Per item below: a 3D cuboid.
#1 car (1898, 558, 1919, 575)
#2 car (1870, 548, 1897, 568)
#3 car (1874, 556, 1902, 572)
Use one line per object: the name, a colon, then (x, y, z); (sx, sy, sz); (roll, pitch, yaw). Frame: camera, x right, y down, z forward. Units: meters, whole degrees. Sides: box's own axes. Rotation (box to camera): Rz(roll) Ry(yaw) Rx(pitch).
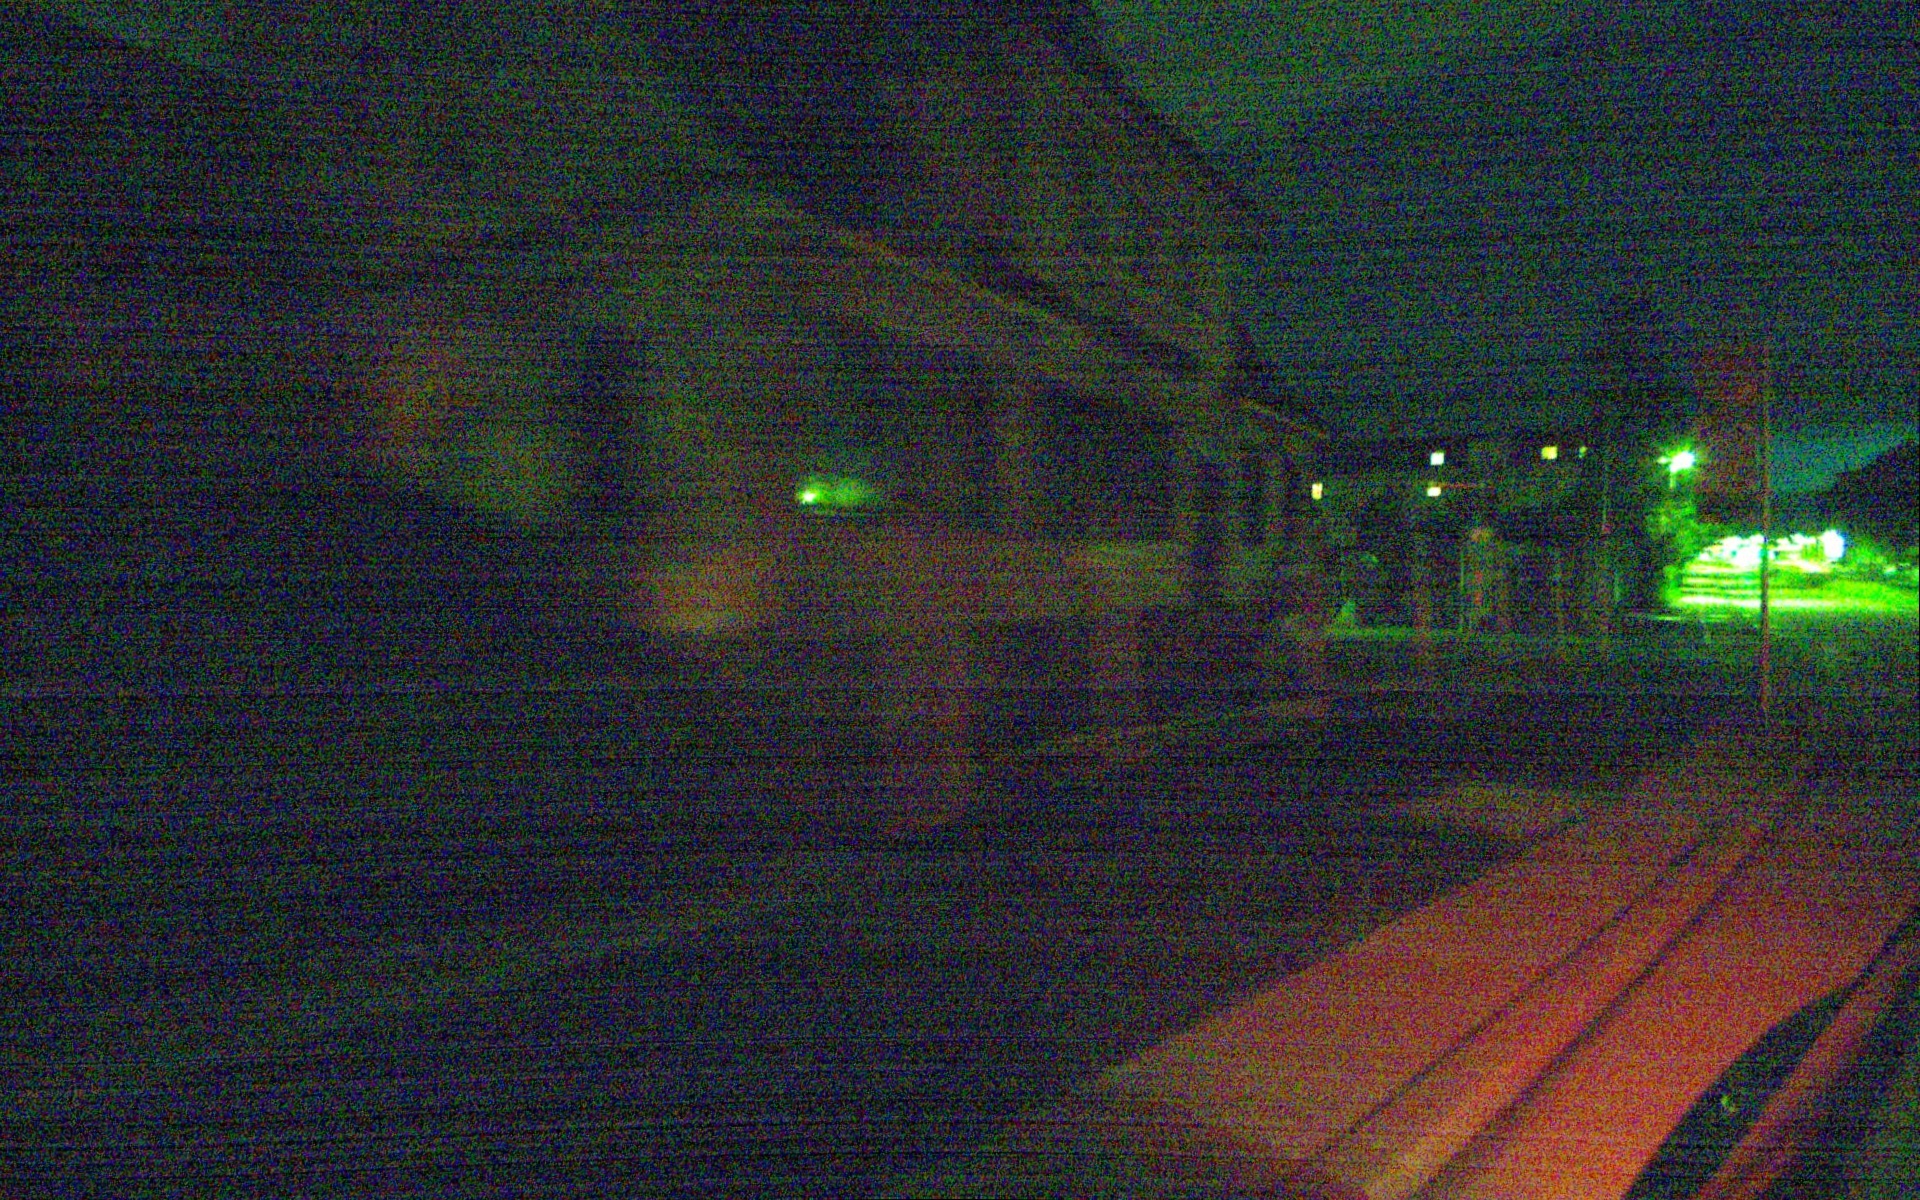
car: (106.325, -3.722, 112.854); (2.117, 1.792, 4.655); (5, 6, 39)
car: (122.173, -5.590, 133.907); (2.157, 2.542, 4.655); (5, 6, 39)
car: (113.406, -4.445, 123.703); (2.117, 1.792, 4.655); (5, 6, 39)
